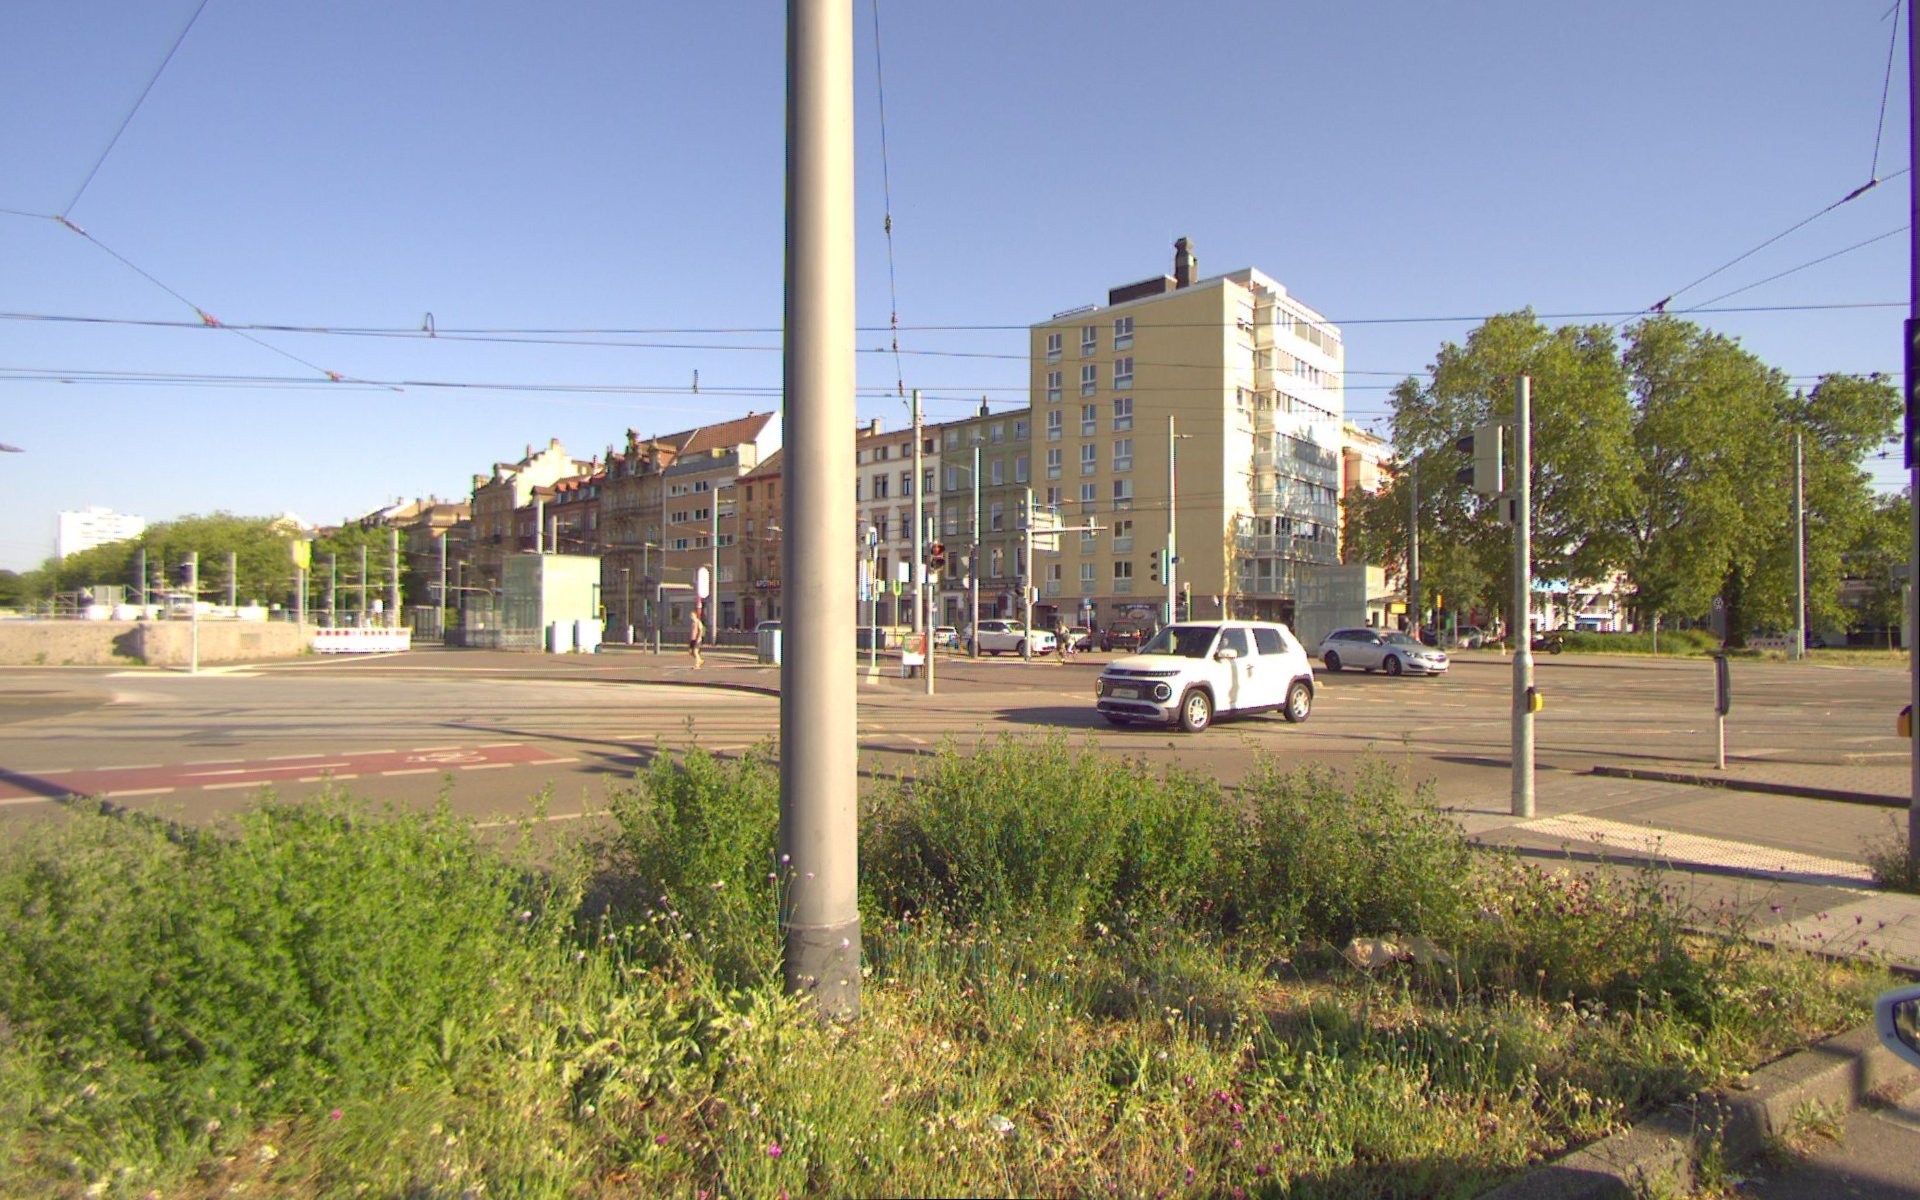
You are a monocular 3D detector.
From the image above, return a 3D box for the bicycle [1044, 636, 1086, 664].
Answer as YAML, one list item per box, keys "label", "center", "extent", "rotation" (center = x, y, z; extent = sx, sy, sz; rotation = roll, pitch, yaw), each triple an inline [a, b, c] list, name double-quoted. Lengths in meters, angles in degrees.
- label: "bicycle"
  center: [4.248, 2.003, 40.628]
  extent: [0.617, 1.104, 1.914]
  rotation: [2, 0, 44]

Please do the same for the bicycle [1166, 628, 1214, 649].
- label: "bicycle"
  center: [14.438, 2.429, 63.088]
  extent: [3.003, 1.167, 0.637]
  rotation: [2, 0, 44]

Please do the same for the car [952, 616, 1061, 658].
- label: "car"
  center: [2.122, 1.706, 46.635]
  extent: [4.836, 1.848, 1.991]
  rotation: [-1, -3, 40]

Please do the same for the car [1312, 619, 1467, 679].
- label: "car"
  center: [13.786, 1.532, 32.563]
  extent: [1.761, 1.684, 4.694]
  rotation: [2, 0, -23]

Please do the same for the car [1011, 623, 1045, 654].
- label: "car"
  center: [4.181, 2.351, 61.781]
  extent: [1.960, 1.728, 4.001]
  rotation: [2, 0, 4]

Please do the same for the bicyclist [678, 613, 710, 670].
- label: "bicyclist"
  center: [-8.275, 1.272, 31.277]
  extent: [0.653, 1.706, 0.980]
  rotation: [2, 0, 2]

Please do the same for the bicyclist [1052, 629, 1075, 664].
- label: "bicyclist"
  center: [4.180, 1.862, 40.537]
  extent: [0.617, 1.368, 0.658]
  rotation: [2, 0, 44]

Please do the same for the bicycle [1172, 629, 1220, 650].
- label: "bicycle"
  center: [14.925, 2.492, 63.657]
  extent: [3.003, 1.167, 0.637]
  rotation: [2, 0, 44]

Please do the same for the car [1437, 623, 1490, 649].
- label: "car"
  center: [31.998, 2.285, 63.808]
  extent: [3.973, 1.588, 1.753]
  rotation: [2, 0, -44]

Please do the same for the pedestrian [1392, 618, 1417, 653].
- label: "pedestrian"
  center: [22.299, 1.779, 50.414]
  extent: [0.747, 1.728, 0.793]
  rotation: [2, 0, -22]

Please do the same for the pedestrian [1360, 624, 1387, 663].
- label: "pedestrian"
  center: [18.676, 1.968, 45.355]
  extent: [0.747, 1.728, 0.793]
  rotation: [2, 0, -22]

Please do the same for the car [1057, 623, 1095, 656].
- label: "car"
  center: [6.810, 2.301, 59.186]
  extent: [1.960, 1.728, 4.001]
  rotation: [2, 0, 4]

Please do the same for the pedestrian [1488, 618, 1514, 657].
- label: "pedestrian"
  center: [27.106, 1.894, 50.337]
  extent: [0.747, 1.911, 0.793]
  rotation: [2, 0, -22]

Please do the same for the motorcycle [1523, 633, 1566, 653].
- label: "motorcycle"
  center: [29.134, 2.127, 50.107]
  extent: [1.753, 0.926, 0.676]
  rotation: [2, 0, 41]

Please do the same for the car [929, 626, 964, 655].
- label: "car"
  center: [-0.879, 2.614, 66.027]
  extent: [1.960, 1.728, 4.001]
  rotation: [2, 0, 4]

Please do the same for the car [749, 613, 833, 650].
- label: "car"
  center: [-9.542, 1.767, 56.419]
  extent: [4.837, 1.849, 1.990]
  rotation: [2, 0, 41]

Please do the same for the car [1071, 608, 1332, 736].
- label: "car"
  center: [3.766, 1.029, 15.407]
  extent: [3.963, 1.684, 1.768]
  rotation: [2, 0, -37]

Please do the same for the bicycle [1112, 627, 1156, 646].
- label: "bicycle"
  center: [11.448, 2.394, 66.097]
  extent: [3.003, 1.167, 0.637]
  rotation: [2, 0, 44]

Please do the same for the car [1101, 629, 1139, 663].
- label: "car"
  center: [9.115, 2.588, 57.502]
  extent: [1.684, 1.728, 4.001]
  rotation: [2, 0, 4]

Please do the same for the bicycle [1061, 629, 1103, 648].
- label: "bicycle"
  center: [8.362, 2.647, 69.006]
  extent: [3.003, 1.167, 0.637]
  rotation: [2, 0, 44]
